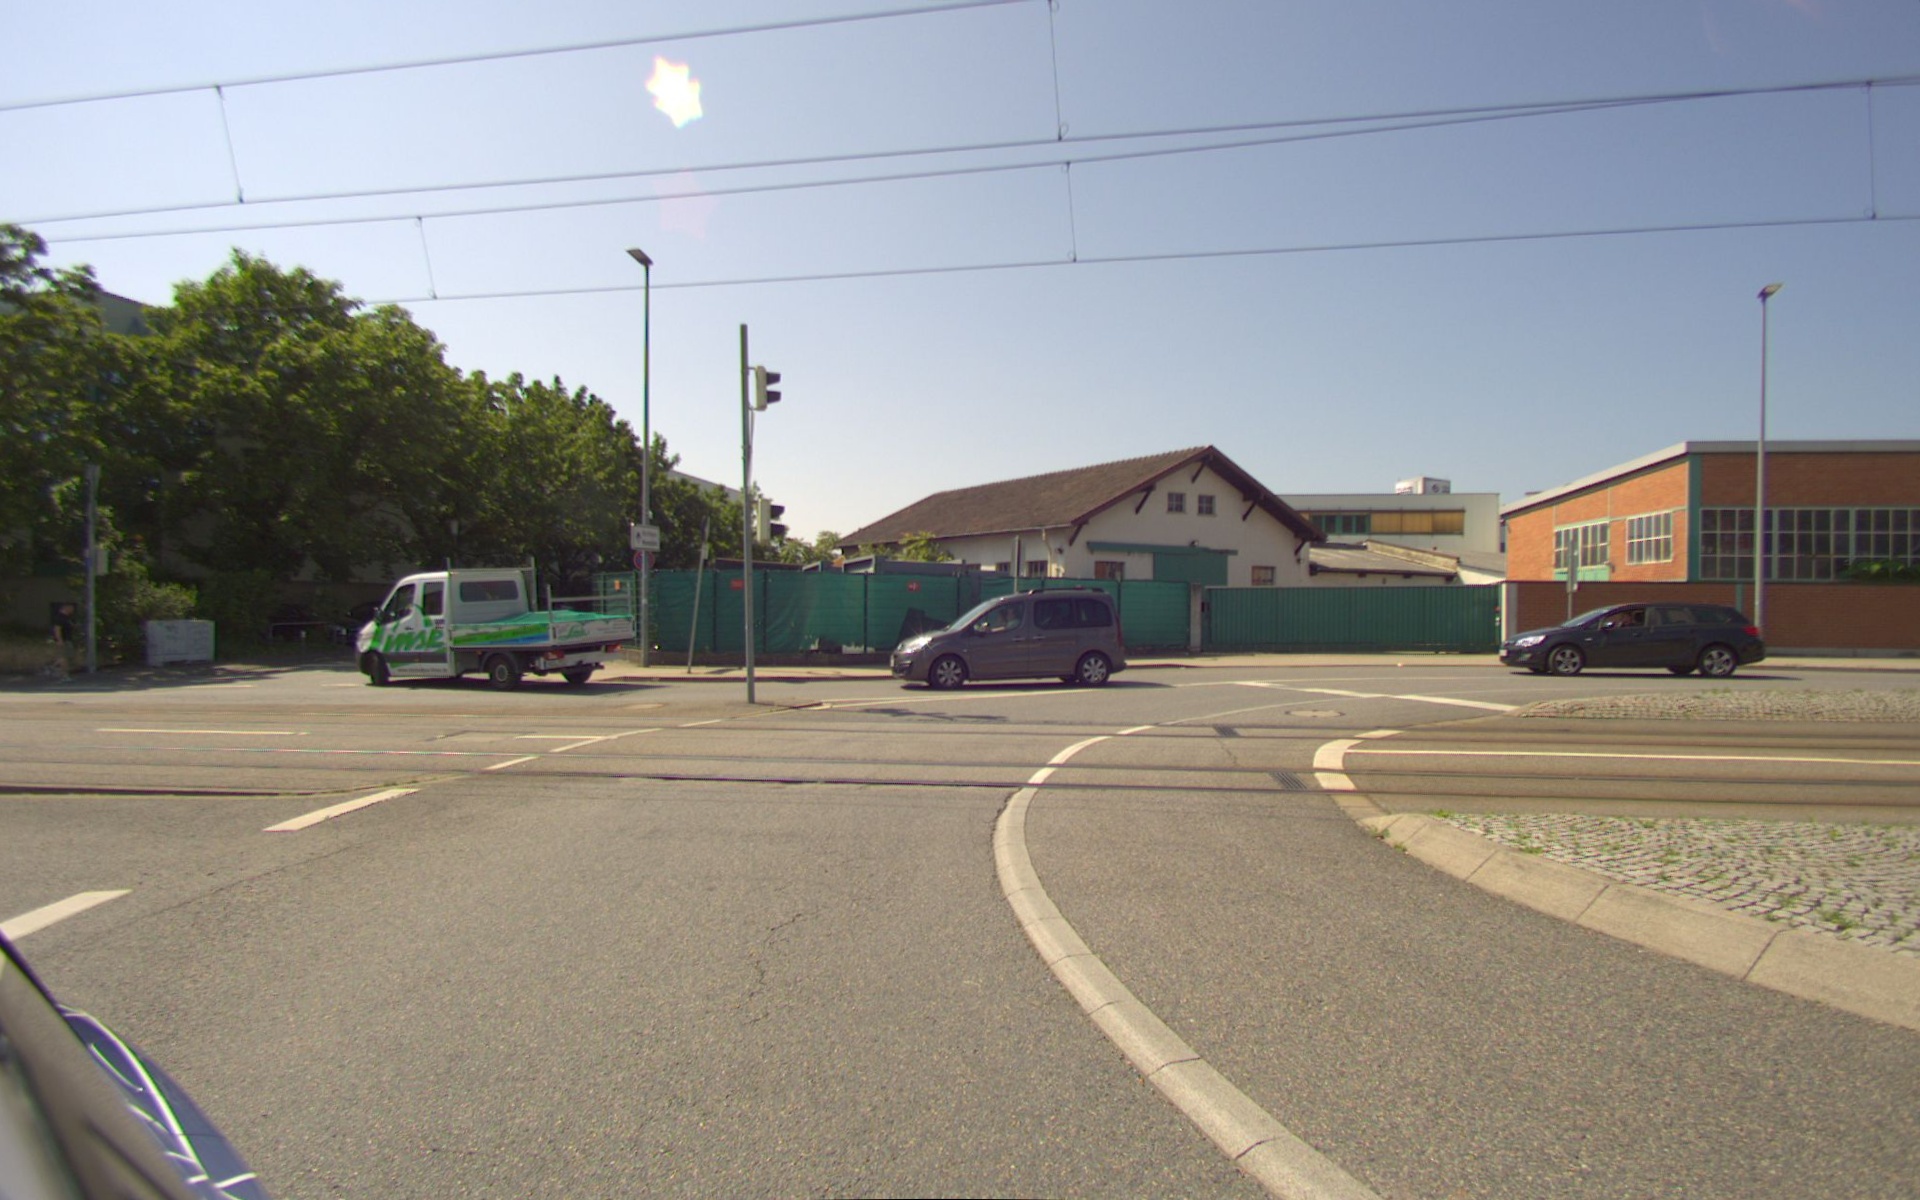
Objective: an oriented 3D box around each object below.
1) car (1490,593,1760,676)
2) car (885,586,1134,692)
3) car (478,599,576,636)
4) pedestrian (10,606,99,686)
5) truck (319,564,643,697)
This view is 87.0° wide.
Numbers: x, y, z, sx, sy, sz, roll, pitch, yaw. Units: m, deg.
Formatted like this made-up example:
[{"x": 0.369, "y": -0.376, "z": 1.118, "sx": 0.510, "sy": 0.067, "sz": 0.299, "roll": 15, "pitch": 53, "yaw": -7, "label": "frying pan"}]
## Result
[{"x": 13.502, "y": 0.708, "z": 20.867, "sx": 4.205, "sy": 1.568, "sz": 1.959, "roll": -2, "pitch": -1, "yaw": 17, "label": "car"}, {"x": 0.842, "y": 0.693, "z": 18.999, "sx": 4.339, "sy": 1.832, "sz": 1.993, "roll": 0, "pitch": -1, "yaw": -8, "label": "car"}, {"x": -19.829, "y": 0.801, "z": 46.417, "sx": 3.816, "sy": 1.650, "sz": 1.624, "roll": -1, "pitch": -1, "yaw": 3, "label": "car"}, {"x": -20.062, "y": 1.003, "z": 22.441, "sx": 1.146, "sy": 1.682, "sz": 0.887, "roll": -1, "pitch": 3, "yaw": 8, "label": "pedestrian"}, {"x": -9.569, "y": 0.532, "z": 20.127, "sx": 6.349, "sy": 2.355, "sz": 2.192, "roll": 0, "pitch": 1, "yaw": 24, "label": "truck"}]
